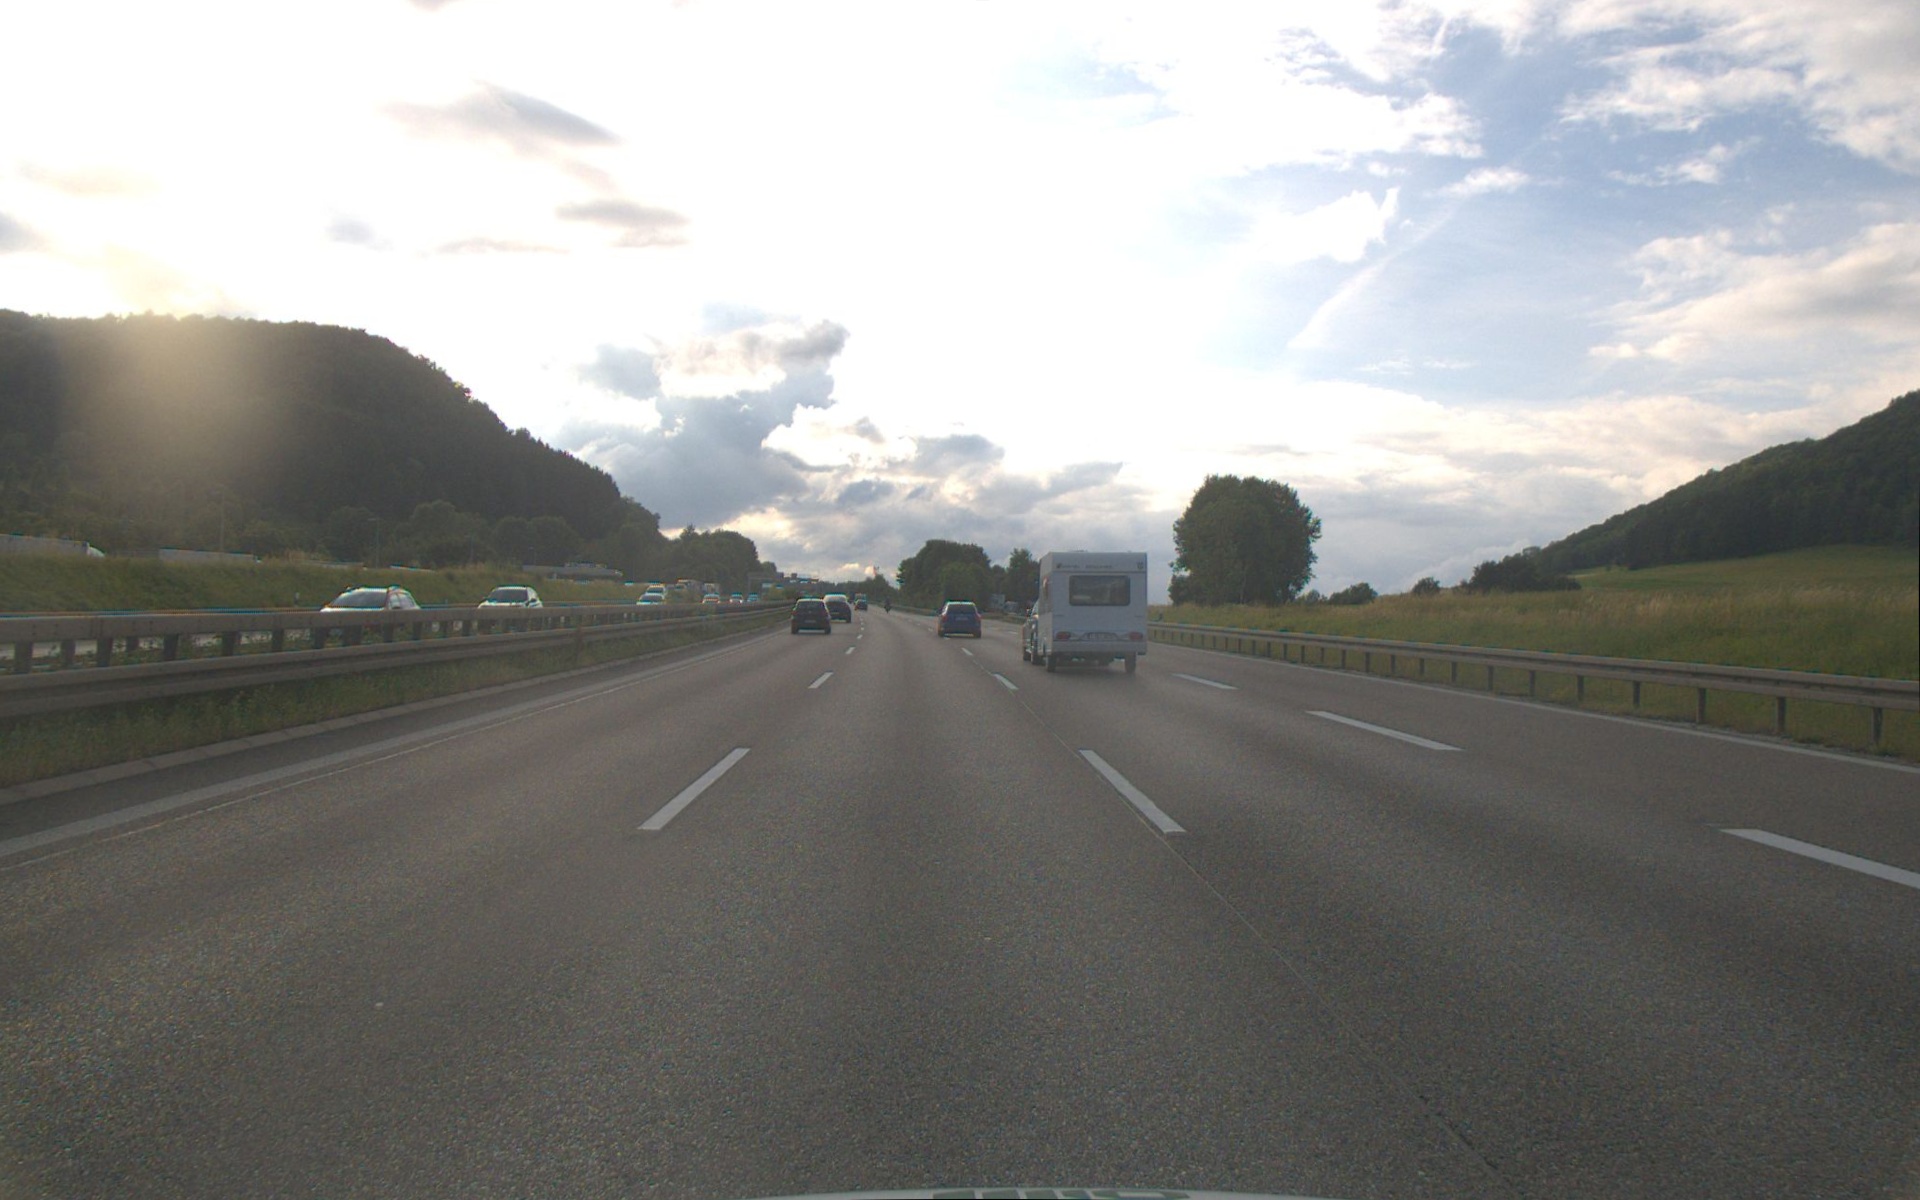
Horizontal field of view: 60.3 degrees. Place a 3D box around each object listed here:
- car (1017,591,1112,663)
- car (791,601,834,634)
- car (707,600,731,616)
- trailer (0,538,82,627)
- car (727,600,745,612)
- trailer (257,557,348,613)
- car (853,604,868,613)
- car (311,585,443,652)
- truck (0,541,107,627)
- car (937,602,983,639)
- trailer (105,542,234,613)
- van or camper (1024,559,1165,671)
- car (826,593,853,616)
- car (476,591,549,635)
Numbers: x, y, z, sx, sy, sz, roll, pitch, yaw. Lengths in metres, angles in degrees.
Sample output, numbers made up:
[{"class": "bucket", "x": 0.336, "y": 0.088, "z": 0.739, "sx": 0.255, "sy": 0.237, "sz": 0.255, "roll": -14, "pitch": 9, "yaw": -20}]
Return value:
[{"class": "car", "x": 2.568, "y": 0.629, "z": 41.562, "sx": 1.751, "sy": 1.681, "sz": 4.477, "roll": 1, "pitch": 0, "yaw": -4}, {"class": "car", "x": -6.337, "y": 0.739, "z": 71.139, "sx": 1.506, "sy": 1.371, "sz": 3.677, "roll": 0, "pitch": 0, "yaw": 0}, {"class": "car", "x": -22.944, "y": 0.718, "z": 157.556, "sx": 1.913, "sy": 1.501, "sz": 3.869, "roll": 0, "pitch": 0, "yaw": -4}, {"class": "trailer", "x": -42.749, "y": -0.727, "z": 72.263, "sx": 2.822, "sy": 3.761, "sz": 13.657, "roll": -1, "pitch": -1, "yaw": -6}, {"class": "car", "x": -28.069, "y": 0.763, "z": 207.414, "sx": 1.913, "sy": 1.473, "sz": 3.869, "roll": 0, "pitch": 0, "yaw": -4}, {"class": "trailer", "x": -45.827, "y": -0.995, "z": 115.646, "sx": 2.820, "sy": 3.761, "sz": 10.365, "roll": 0, "pitch": 0, "yaw": -4}, {"class": "car", "x": -13.910, "y": 1.128, "z": 231.070, "sx": 1.718, "sy": 1.243, "sz": 3.992, "roll": 0, "pitch": 0, "yaw": -9}, {"class": "car", "x": -14.605, "y": 0.428, "z": 41.691, "sx": 1.803, "sy": 1.557, "sz": 4.215, "roll": -1, "pitch": 0, "yaw": 0}, {"class": "truck", "x": -43.268, "y": -0.659, "z": 77.568, "sx": 2.826, "sy": 3.755, "sz": 8.481, "roll": -1, "pitch": -1, "yaw": -6}, {"class": "car", "x": -0.026, "y": 0.848, "z": 68.521, "sx": 1.731, "sy": 1.458, "sz": 3.998, "roll": -1, "pitch": -1, "yaw": -2}, {"class": "trailer", "x": -44.167, "y": -1.202, "z": 92.830, "sx": 2.820, "sy": 3.761, "sz": 10.365, "roll": 0, "pitch": 0, "yaw": -4}, {"class": "van or camper", "x": 2.915, "y": 0.387, "z": 37.199, "sx": 2.497, "sy": 2.279, "sz": 5.326, "roll": 1, "pitch": -1, "yaw": -2}, {"class": "car", "x": -7.558, "y": 0.250, "z": 104.219, "sx": 1.533, "sy": 1.404, "sz": 3.999, "roll": 0, "pitch": 0, "yaw": -2}, {"class": "car", "x": -17.434, "y": 0.540, "z": 64.588, "sx": 1.770, "sy": 1.642, "sz": 4.339, "roll": 1, "pitch": -1, "yaw": -2}]
